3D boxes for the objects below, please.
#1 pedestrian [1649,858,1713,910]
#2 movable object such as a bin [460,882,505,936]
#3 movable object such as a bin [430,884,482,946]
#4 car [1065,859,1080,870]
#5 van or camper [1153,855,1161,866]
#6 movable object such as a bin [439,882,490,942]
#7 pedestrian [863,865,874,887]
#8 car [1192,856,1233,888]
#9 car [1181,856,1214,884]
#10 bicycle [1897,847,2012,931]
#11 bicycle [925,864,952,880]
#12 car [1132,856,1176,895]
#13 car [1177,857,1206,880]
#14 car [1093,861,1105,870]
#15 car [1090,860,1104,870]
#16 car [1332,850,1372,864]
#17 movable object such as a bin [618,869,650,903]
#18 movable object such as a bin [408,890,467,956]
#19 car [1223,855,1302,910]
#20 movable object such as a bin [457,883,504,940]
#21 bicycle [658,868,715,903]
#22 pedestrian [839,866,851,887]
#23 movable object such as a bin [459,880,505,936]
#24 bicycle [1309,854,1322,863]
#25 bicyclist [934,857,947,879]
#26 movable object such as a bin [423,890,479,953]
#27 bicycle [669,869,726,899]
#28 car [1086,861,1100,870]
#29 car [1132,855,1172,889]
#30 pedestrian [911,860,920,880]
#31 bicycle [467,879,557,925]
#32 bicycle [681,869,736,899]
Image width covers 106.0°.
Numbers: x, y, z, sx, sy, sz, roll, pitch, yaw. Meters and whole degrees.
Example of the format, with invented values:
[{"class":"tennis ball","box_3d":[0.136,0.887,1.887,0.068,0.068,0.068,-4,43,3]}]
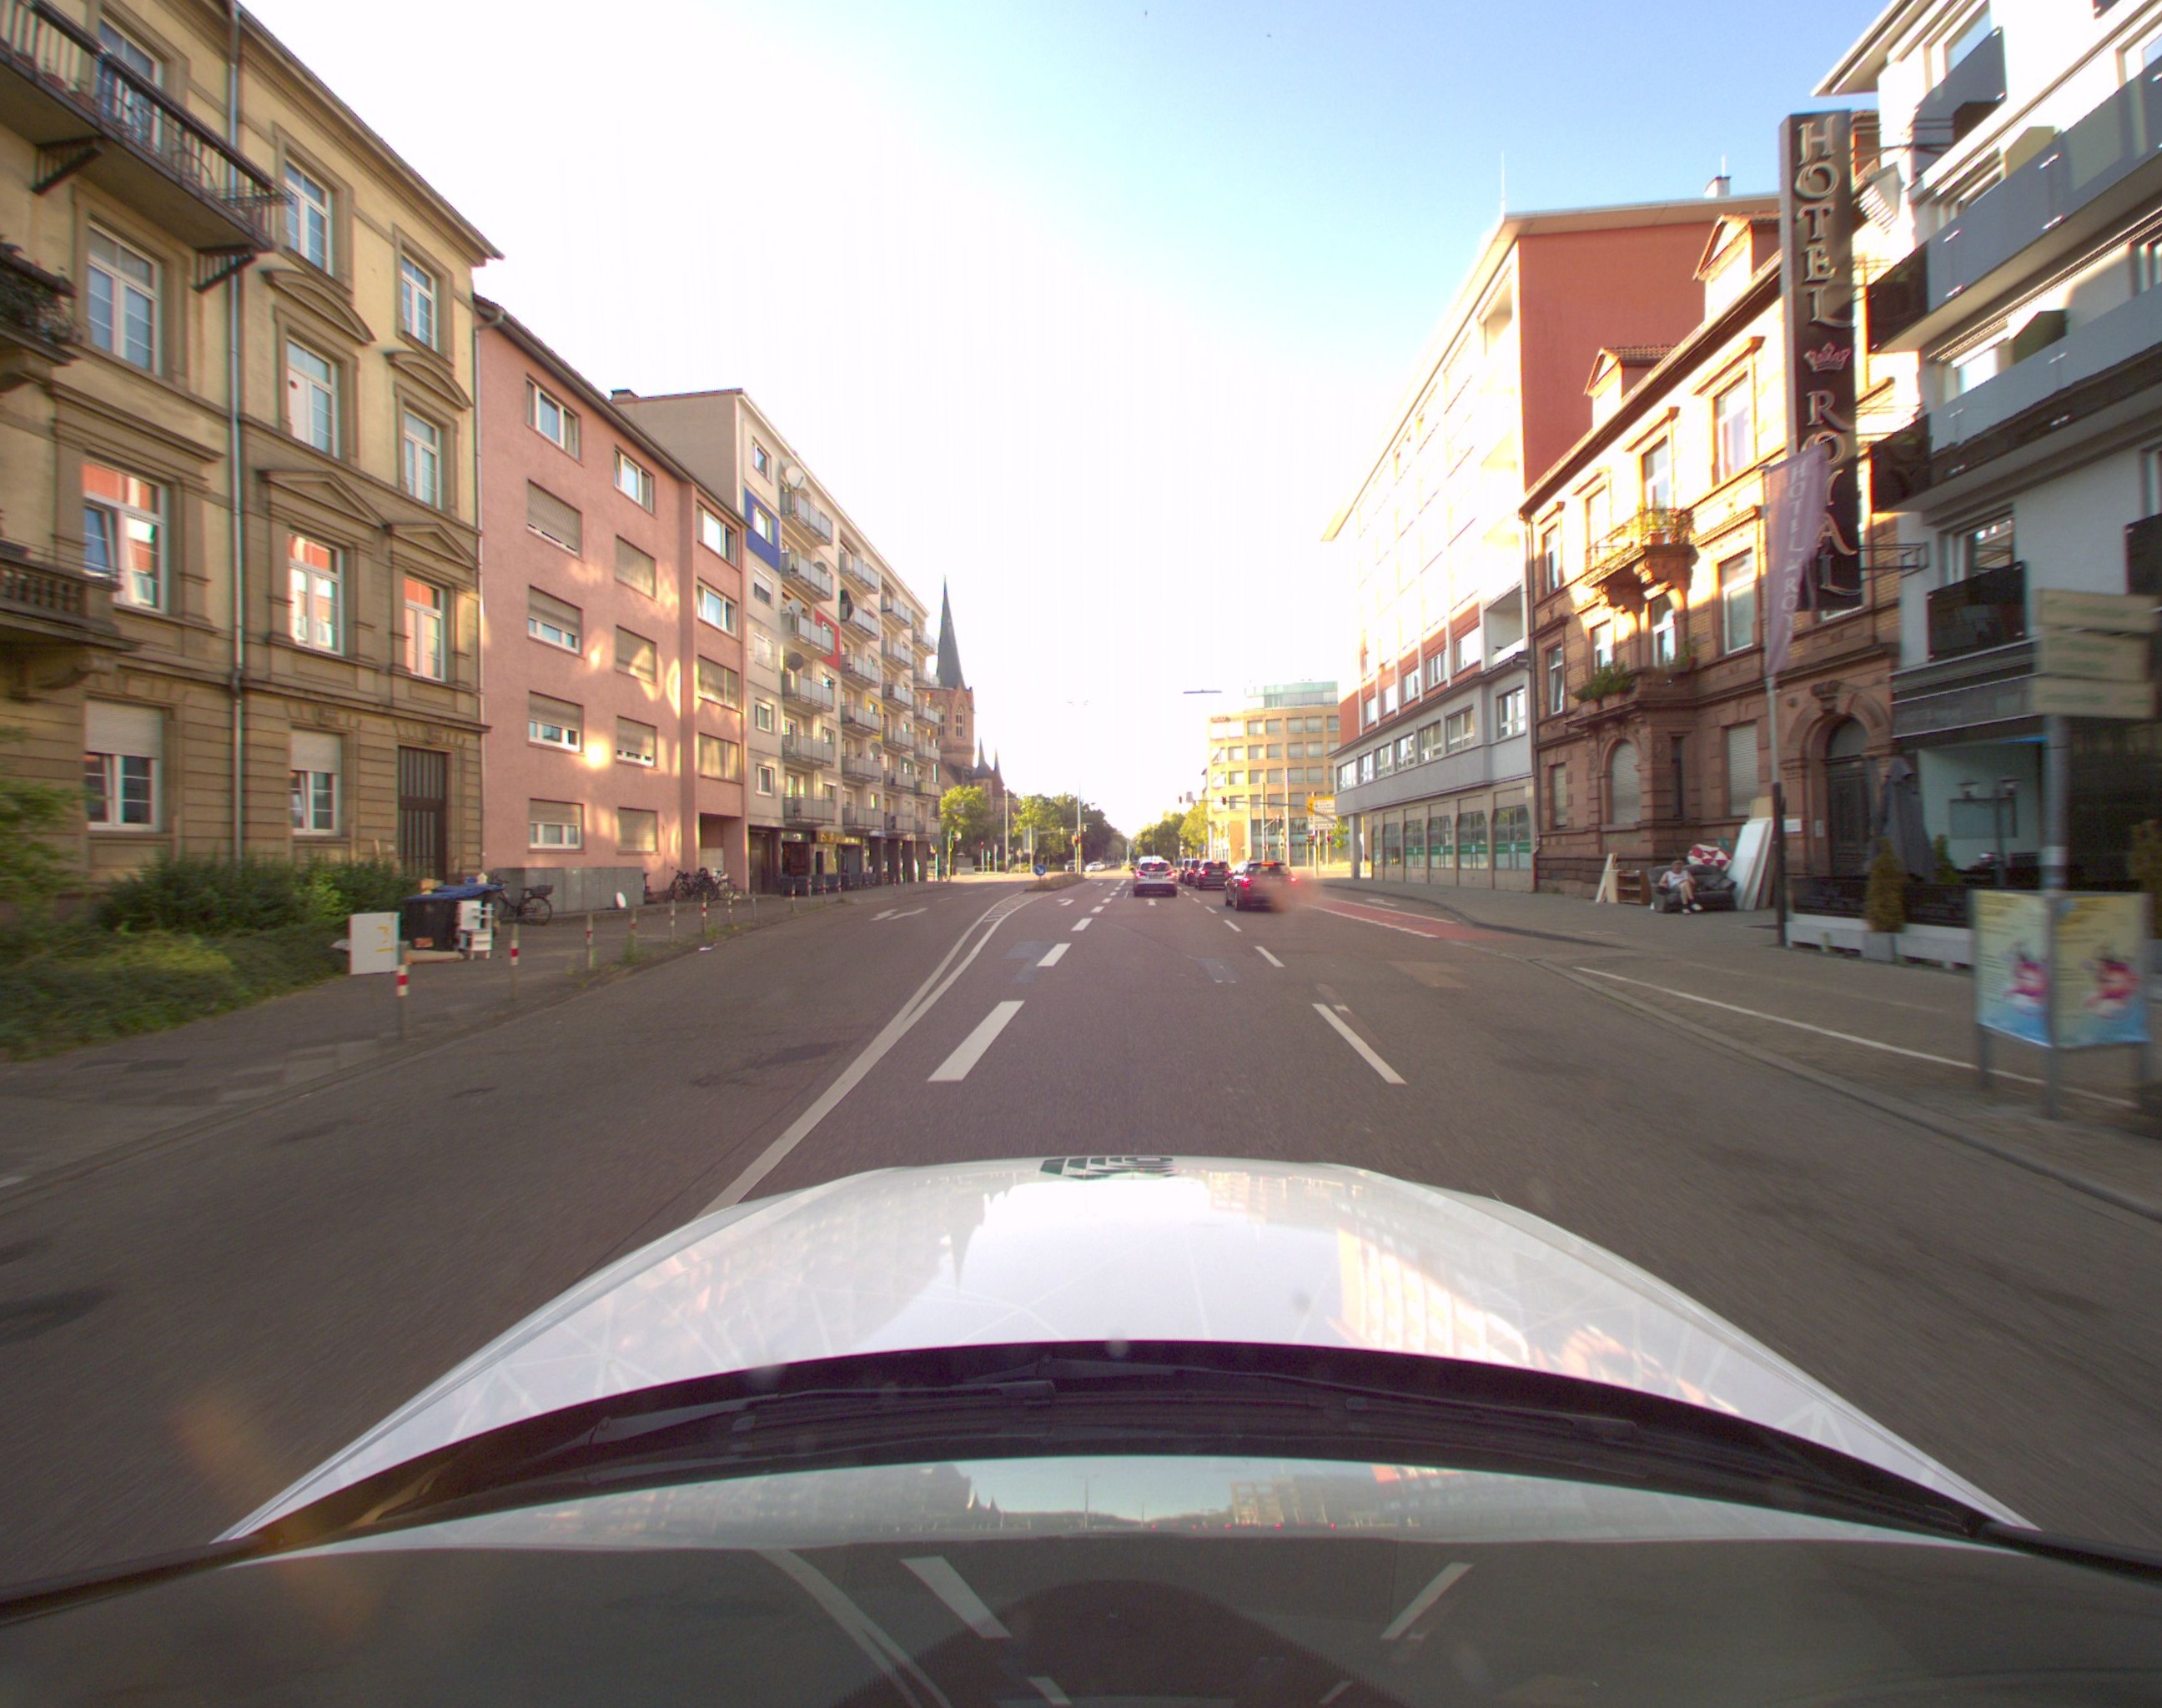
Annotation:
[{"class":"pedestrian","box_3d":[12.573,0.607,17.098,0.687,1.043,0.946,-1,0,7]},{"class":"movable object such as a bin","box_3d":[-12.758,1.157,17.369,0.643,1.111,0.578,1,-2,-27]},{"class":"movable object such as a bin","box_3d":[-11.584,1.112,15.112,0.643,1.111,0.578,1,-2,-27]},{"class":"car","box_3d":[-1.268,1.531,119.691,1.772,1.647,4.005,-1,0,5]},{"class":"van or camper","box_3d":[18.469,1.568,197.812,1.984,2.640,5.358,-1,0,6]},{"class":"movable object such as a bin","box_3d":[-11.866,1.107,15.692,0.643,1.111,0.578,1,-2,-27]},{"class":"pedestrian","box_3d":[-13.344,1.370,51.175,0.479,1.384,0.484,-1,-1,24]},{"class":"car","box_3d":[6.474,0.858,40.469,1.643,1.484,4.244,0,0,4]},{"class":"car","box_3d":[6.625,0.888,46.526,1.483,1.505,3.481,-1,0,3]},{"class":"bicycle","box_3d":[12.830,0.497,11.966,1.423,1.110,0.486,-4,0,-14]},{"class":"bicycle","box_3d":[-10.638,1.350,60.745,1.820,1.188,0.734,-1,-1,2]},{"class":"car","box_3d":[3.017,0.854,34.207,1.700,1.510,4.313,0,0,4]},{"class":"car","box_3d":[7.039,0.893,52.000,1.577,1.447,3.651,0,0,4]},{"class":"car","box_3d":[2.956,1.871,132.755,1.772,1.236,4.005,-1,0,5]},{"class":"car","box_3d":[2.466,1.615,125.503,1.772,1.464,4.005,-1,0,5]},{"class":"car","box_3d":[33.126,0.412,99.586,4.208,1.614,2.003,-1,0,5]},{"class":"movable object such as a bin","box_3d":[-14.039,1.003,25.583,0.672,1.032,0.589,-1,-1,3]},{"class":"movable object such as a bin","box_3d":[-10.953,1.162,13.883,0.643,1.083,0.578,1,-2,-27]},{"class":"car","box_3d":[5.360,0.791,24.523,1.700,1.457,4.163,-1,0,4]},{"class":"movable object such as a bin","box_3d":[-12.031,1.134,16.337,0.643,1.111,0.578,1,-2,-27]},{"class":"bicycle","box_3d":[-13.143,1.041,27.183,1.676,1.160,0.492,0,-1,-23]},{"class":"pedestrian","box_3d":[-13.517,1.271,46.654,0.524,1.203,0.548,-1,-1,-28]},{"class":"movable object such as a bin","box_3d":[-12.372,1.109,16.834,0.643,1.111,0.578,1,-2,-27]},{"class":"bicycle","box_3d":[30.248,0.584,105.143,1.510,1.172,0.476,-1,0,10]},{"class":"bicyclist","box_3d":[-10.587,1.038,61.442,0.778,1.660,0.902,-1,-1,4]},{"class":"movable object such as a bin","box_3d":[-11.197,1.192,14.500,0.643,1.068,0.622,1,-2,-27]},{"class":"bicycle","box_3d":[-13.184,1.029,27.993,1.666,1.041,0.549,0,-1,-4]},{"class":"car","box_3d":[1.709,1.713,118.955,1.772,1.236,4.005,-1,0,5]},{"class":"car","box_3d":[3.451,0.841,39.903,1.796,1.568,3.621,-1,0,3]},{"class":"pedestrian","box_3d":[-13.682,1.299,67.183,0.464,1.642,0.580,-2,-1,24]},{"class":"bicycle","box_3d":[-13.661,1.143,19.580,1.642,0.967,0.662,4,0,2]},{"class":"bicycle","box_3d":[-13.165,1.041,28.823,1.670,1.041,0.547,0,-1,-11]}]
